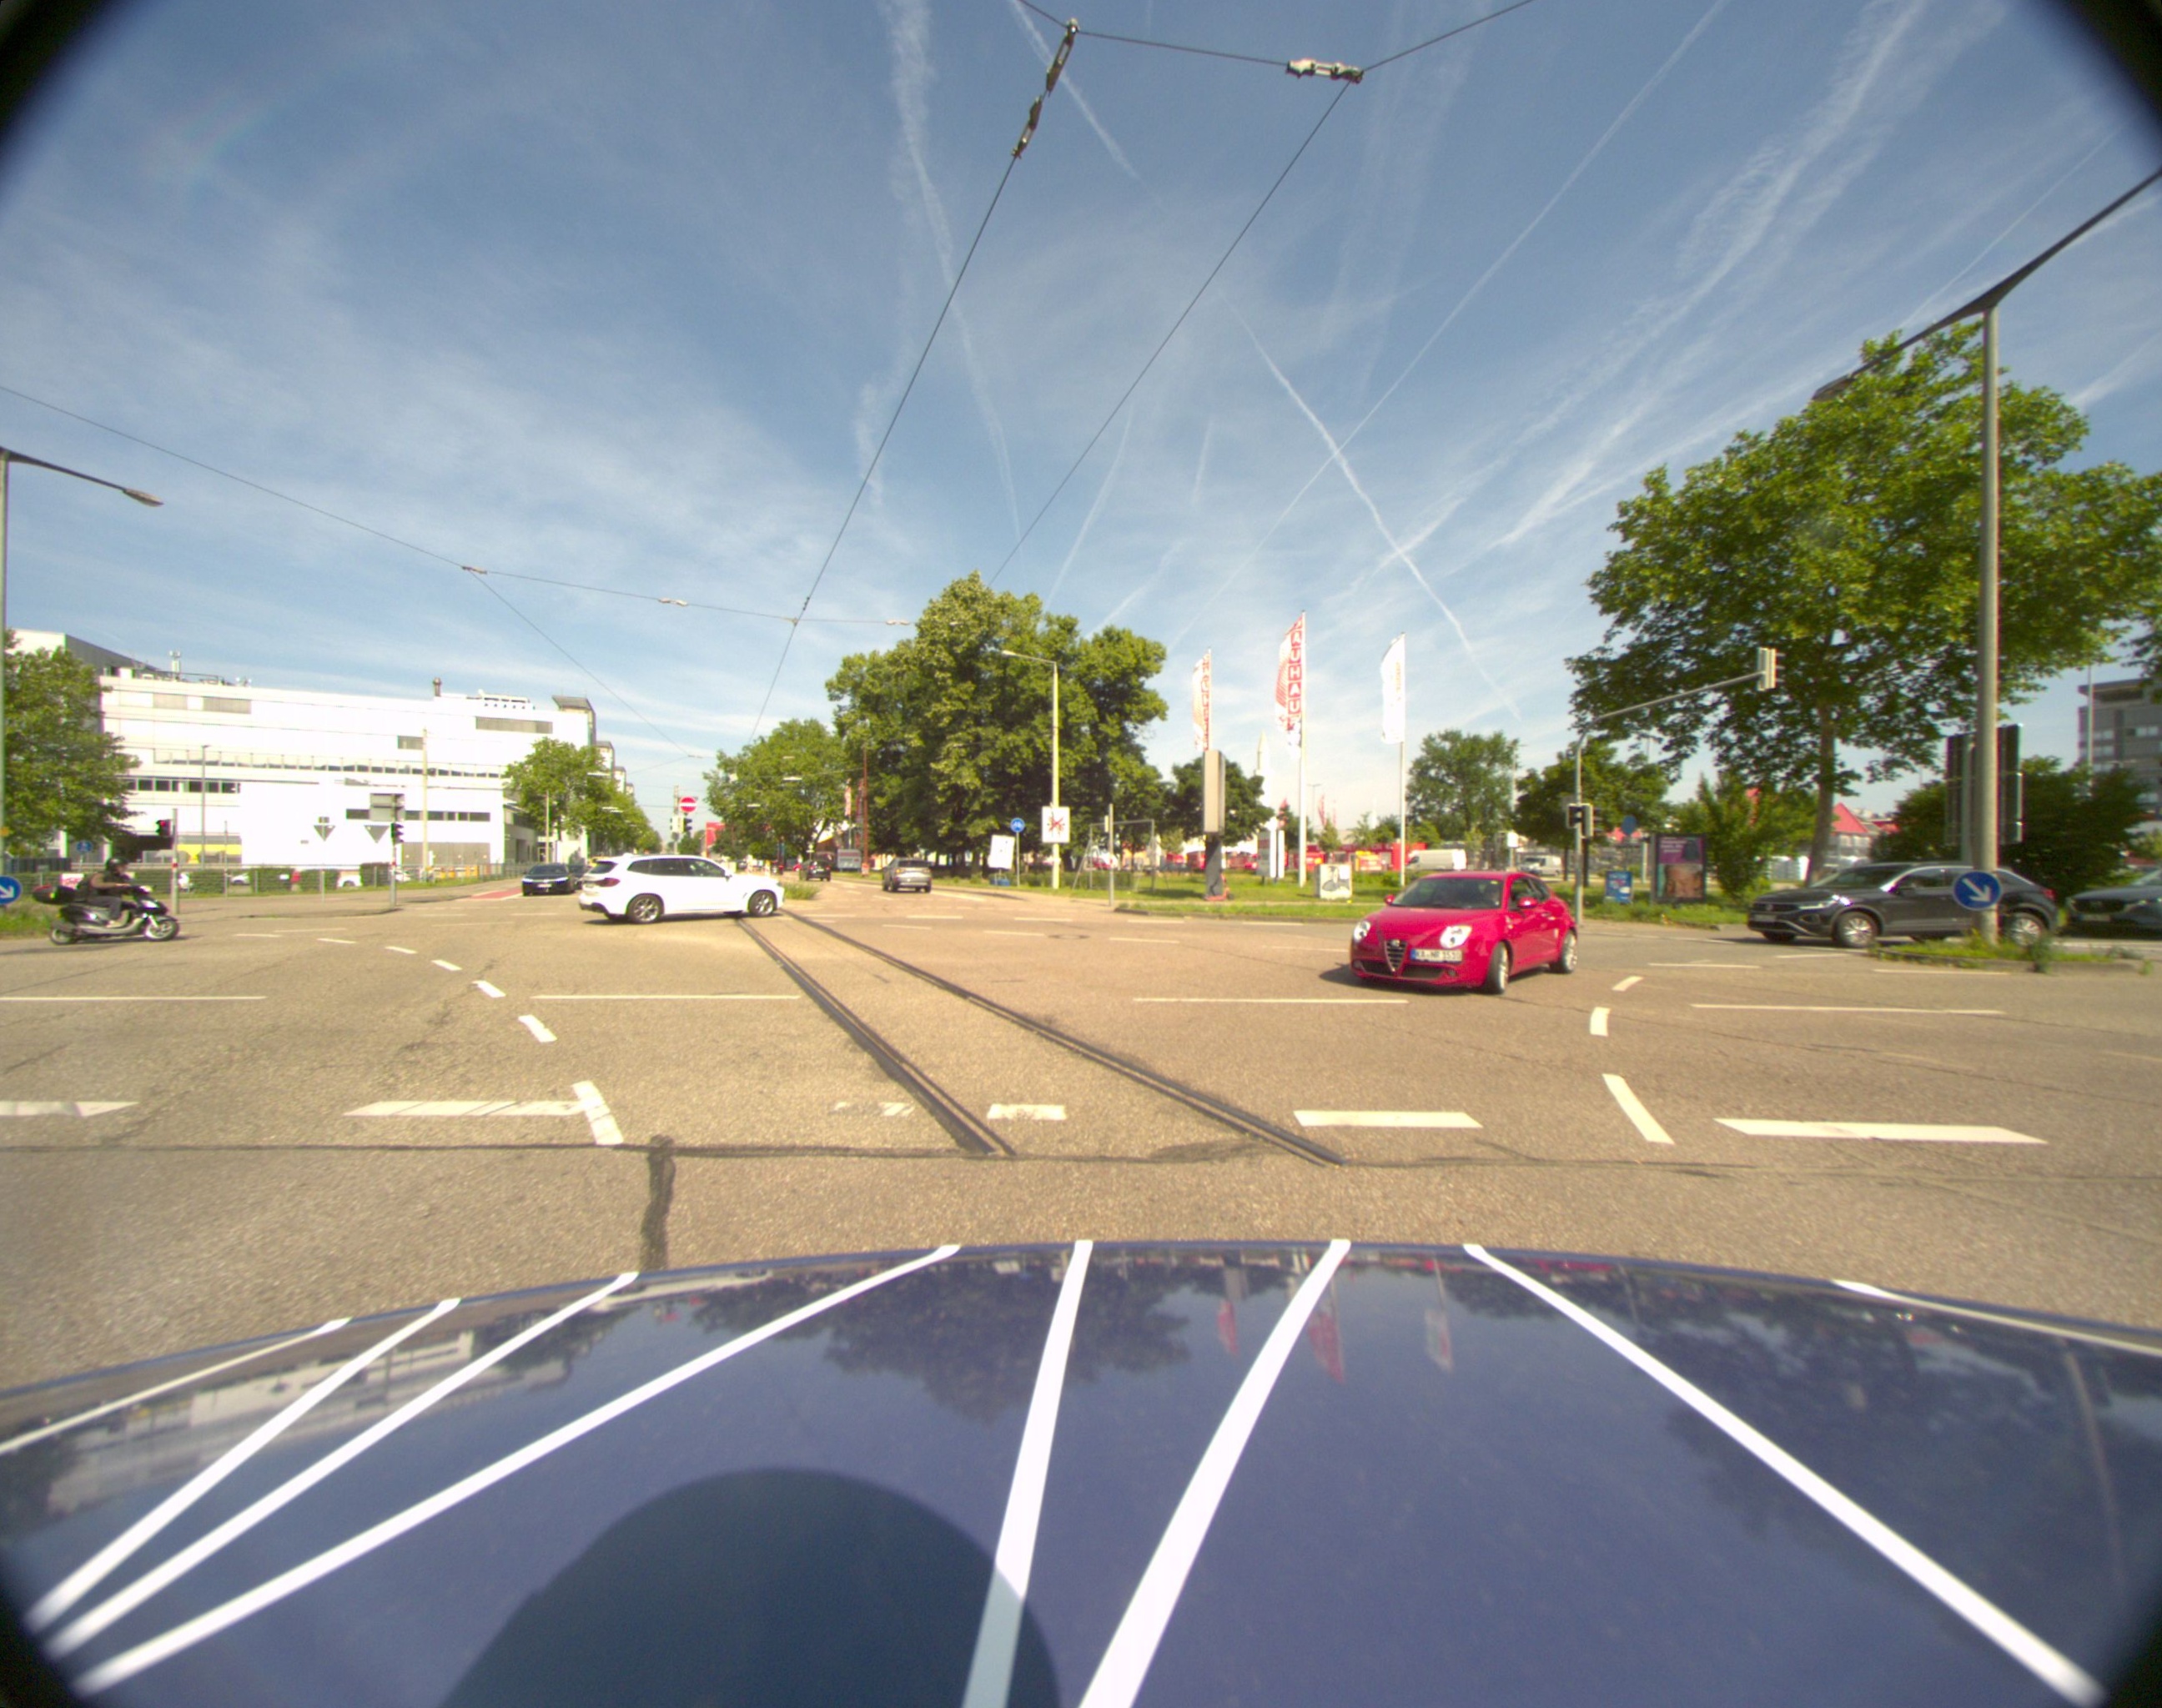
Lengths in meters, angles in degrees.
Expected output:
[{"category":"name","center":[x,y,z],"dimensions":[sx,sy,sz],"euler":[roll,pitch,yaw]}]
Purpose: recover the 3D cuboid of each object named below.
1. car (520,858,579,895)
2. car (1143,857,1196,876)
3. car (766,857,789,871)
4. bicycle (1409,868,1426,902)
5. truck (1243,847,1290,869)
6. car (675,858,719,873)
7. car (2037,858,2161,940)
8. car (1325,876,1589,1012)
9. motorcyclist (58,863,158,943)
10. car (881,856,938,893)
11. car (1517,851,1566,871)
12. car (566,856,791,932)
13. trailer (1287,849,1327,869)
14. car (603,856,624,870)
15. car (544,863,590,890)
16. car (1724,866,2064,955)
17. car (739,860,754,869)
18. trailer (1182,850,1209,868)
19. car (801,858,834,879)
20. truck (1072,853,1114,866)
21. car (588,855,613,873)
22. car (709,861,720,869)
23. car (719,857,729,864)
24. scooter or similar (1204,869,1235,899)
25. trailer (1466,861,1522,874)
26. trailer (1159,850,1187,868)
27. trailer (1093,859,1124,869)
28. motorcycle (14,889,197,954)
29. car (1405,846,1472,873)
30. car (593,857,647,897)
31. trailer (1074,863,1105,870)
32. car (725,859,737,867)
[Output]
[{"category":"car","center":[-26.147,1.049,37.534],"dimensions":[1.919,1.679,4.616],"euler":[0,0,-29]},{"category":"car","center":[7.457,1.044,64.053],"dimensions":[4.055,1.578,1.727],"euler":[0,0,-21]},{"category":"car","center":[-33.582,1.132,84.100],"dimensions":[1.854,1.501,4.384],"euler":[0,0,-29]},{"category":"bicycle","center":[12.230,1.109,27.566],"dimensions":[0.502,1.102,1.795],"euler":[0,1,26]},{"category":"truck","center":[22.911,0.504,93.705],"dimensions":[6.041,2.594,2.014],"euler":[0,0,-31]},{"category":"car","center":[-47.149,1.396,93.314],"dimensions":[4.635,1.679,1.911],"euler":[0,0,-36]},{"category":"car","center":[23.780,0.927,16.060],"dimensions":[4.490,1.648,1.773],"euler":[0,-2,6]},{"category":"car","center":[5.005,1.014,9.891],"dimensions":[3.917,1.429,1.655],"euler":[2,-3,-41]},{"category":"motorcyclist","center":[-18.206,0.899,14.235],"dimensions":[0.873,1.438,0.736],"euler":[0,0,-16]},{"category":"car","center":[-8.313,0.934,36.504],"dimensions":[1.999,1.641,4.647],"euler":[0,0,-21]},{"category":"car","center":[43.393,0.694,71.596],"dimensions":[4.839,1.805,1.870],"euler":[1,1,-31]},{"category":"car","center":[-10.035,0.894,19.272],"dimensions":[1.910,1.679,4.637],"euler":[0,0,40]},{"category":"trailer","center":[26.442,0.590,89.045],"dimensions":[4.418,2.362,1.748],"euler":[1,1,-26]},{"category":"car","center":[-56.729,1.067,92.267],"dimensions":[1.919,1.679,4.616],"euler":[0,0,-28]},{"category":"car","center":[-29.760,1.246,44.107],"dimensions":[1.784,1.435,4.616],"euler":[0,0,-29]},{"category":"car","center":[14.880,0.995,14.144],"dimensions":[4.076,1.536,1.876],"euler":[0,-1,7]},{"category":"car","center":[-55.183,1.677,125.423],"dimensions":[1.854,1.501,4.334],"euler":[0,0,-28]},{"category":"trailer","center":[15.541,0.689,103.462],"dimensions":[1.553,2.344,4.402],"euler":[0,0,-24]},{"category":"car","center":[-20.326,1.078,58.544],"dimensions":[1.817,1.596,4.368],"euler":[0,0,-27]},{"category":"truck","center":[1.888,0.855,114.343],"dimensions":[6.015,1.820,2.183],"euler":[1,-2,-28]},{"category":"car","center":[-48.185,0.996,76.253],"dimensions":[1.784,1.799,4.616],"euler":[0,0,-29]},{"category":"car","center":[-76.998,2.267,159.479],"dimensions":[1.854,1.501,4.334],"euler":[0,0,-28]},{"category":"car","center":[-80.467,1.386,171.281],"dimensions":[1.854,1.501,4.334],"euler":[0,0,-28]},{"category":"scooter or similar","center":[5.113,1.107,28.060],"dimensions":[1.122,1.120,0.426],"euler":[0,0,6]},{"category":"trailer","center":[37.495,1.205,69.075],"dimensions":[2.072,1.116,4.022],"euler":[-2,1,-28]},{"category":"trailer","center":[12.376,0.640,102.636],"dimensions":[1.593,2.362,4.401],"euler":[0,0,-27]},{"category":"trailer","center":[3.449,1.275,95.990],"dimensions":[1.594,1.279,4.400],"euler":[0,0,-33]},{"category":"motorcycle","center":[-18.206,1.237,14.239],"dimensions":[2.045,1.076,0.736],"euler":[-1,0,-16]},{"category":"car","center":[34.725,0.530,73.945],"dimensions":[2.022,2.527,5.675],"euler":[-3,1,-31]},{"category":"car","center":[-20.697,0.960,34.260],"dimensions":[1.919,1.679,4.616],"euler":[0,0,-29]},{"category":"trailer","center":[0.990,1.538,93.985],"dimensions":[2.102,0.777,4.402],"euler":[0,0,-25]},{"category":"car","center":[-68.308,1.764,148.143],"dimensions":[1.854,1.501,4.334],"euler":[0,0,-28]}]
